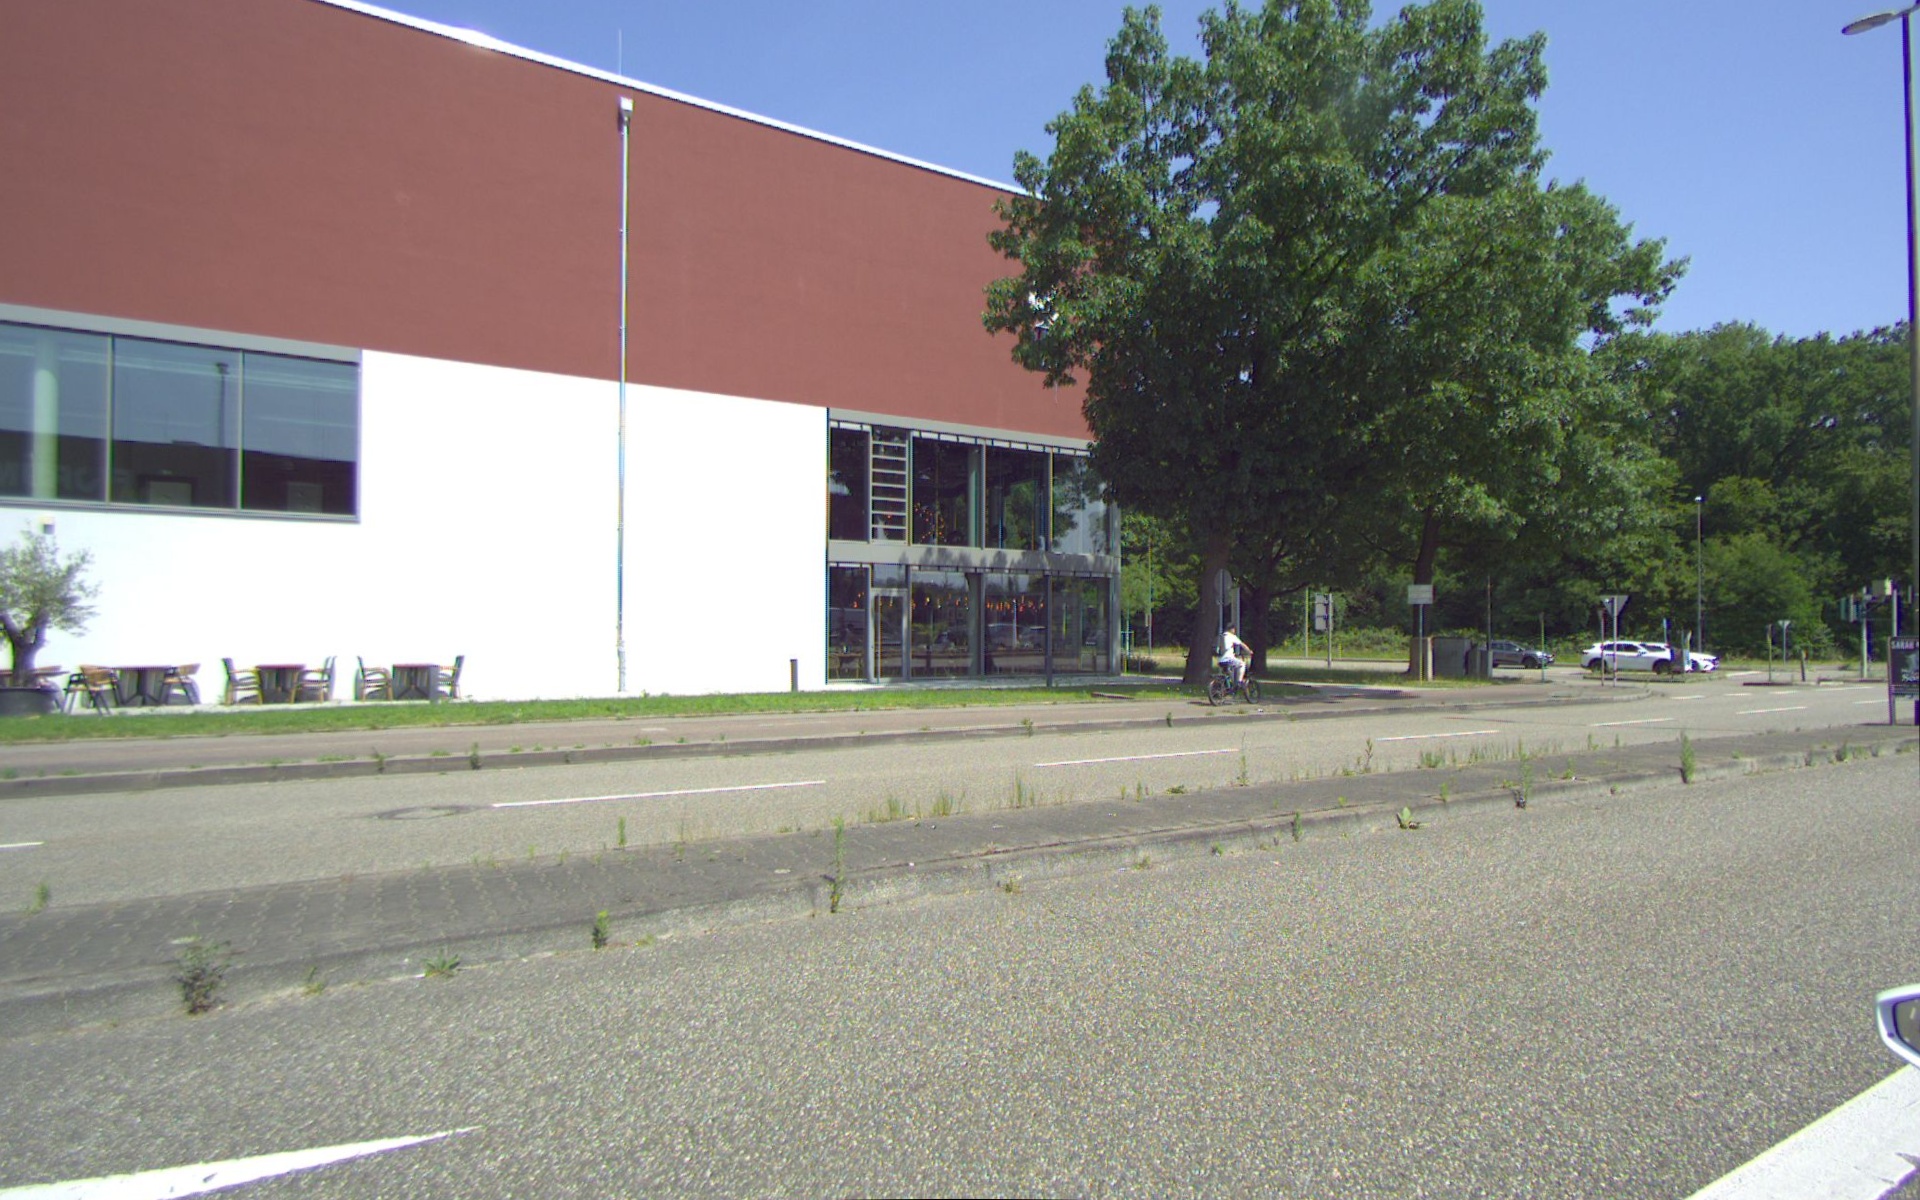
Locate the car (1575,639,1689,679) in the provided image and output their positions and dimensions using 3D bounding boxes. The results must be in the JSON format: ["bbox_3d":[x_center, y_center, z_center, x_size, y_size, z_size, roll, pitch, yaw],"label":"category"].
[{"bbox_3d":[33.355,2.883,49.958,1.794,1.704,4.338,2,0,-37],"label":"car"}]

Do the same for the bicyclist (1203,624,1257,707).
[{"bbox_3d":[5.545,1.328,20.645,0.913,1.652,0.605,1,-2,-30],"label":"bicyclist"}]

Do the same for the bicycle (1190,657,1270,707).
[{"bbox_3d":[5.561,1.669,20.650,1.640,0.982,0.614,1,-2,-30],"label":"bicycle"}]

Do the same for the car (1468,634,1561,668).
[{"bbox_3d":[32.139,2.957,58.305,1.796,1.704,4.332,2,-1,-41],"label":"car"}]

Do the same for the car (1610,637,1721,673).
[{"bbox_3d":[36.504,2.864,52.063,1.794,1.703,4.340,2,-6,-37],"label":"car"}]
